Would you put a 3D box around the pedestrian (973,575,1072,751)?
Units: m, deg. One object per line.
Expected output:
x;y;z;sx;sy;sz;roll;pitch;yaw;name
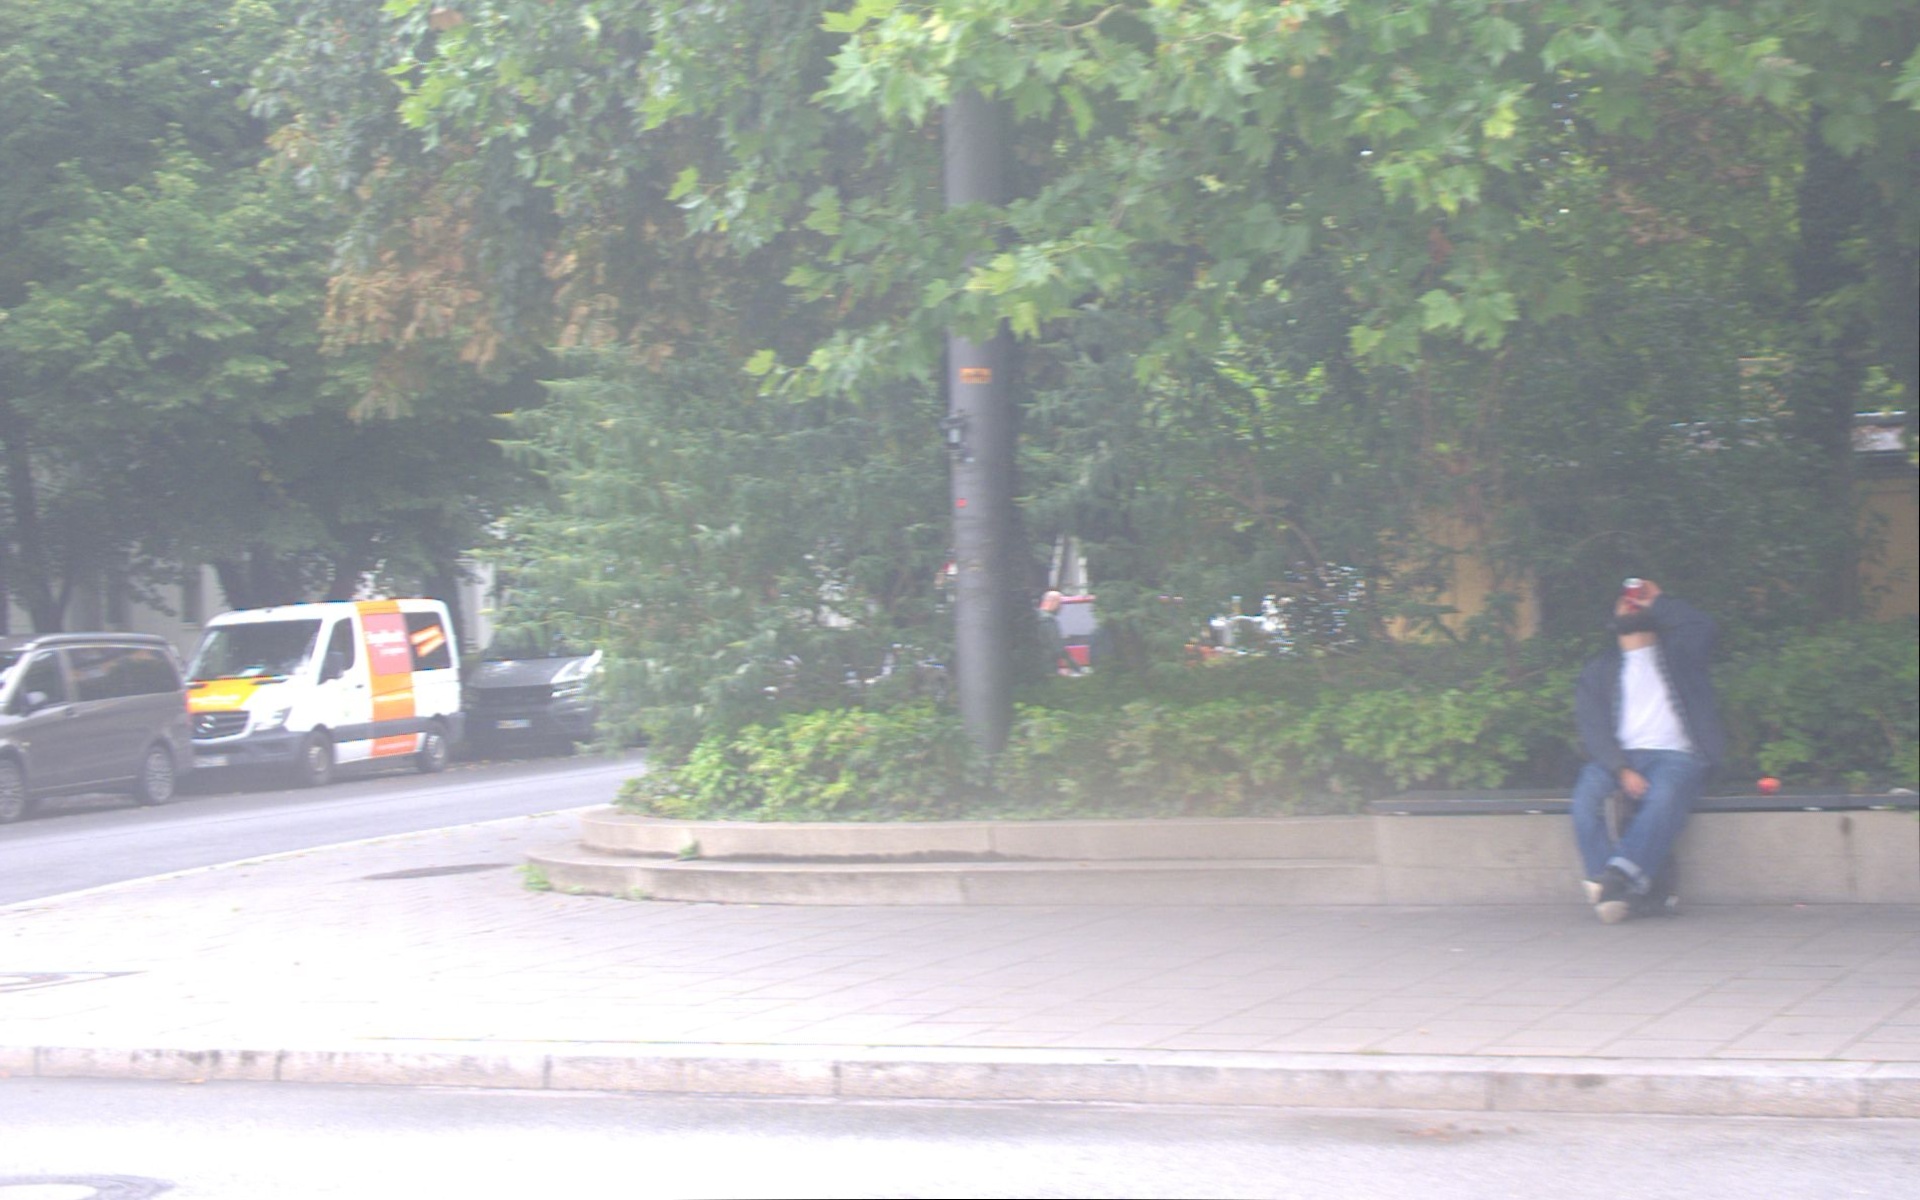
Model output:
0.667;0.673;36.892;0.819;1.830;0.952;-2;0;-10;pedestrian

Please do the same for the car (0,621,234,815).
-10.083;1.264;36.824;2.027;1.901;5.663;-4;-1;16;car

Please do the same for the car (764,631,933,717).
-1.993;1.331;62.791;1.995;1.415;4.126;-2;0;14;car

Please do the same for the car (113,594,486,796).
-8.225;1.133;43.472;2.085;2.257;5.598;-4;-1;18;car

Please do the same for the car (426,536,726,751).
-5.707;0.610;52.073;2.174;2.992;6.228;-2;0;16;car

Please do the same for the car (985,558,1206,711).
1.921;0.442;46.931;1.912;1.930;4.965;-2;0;15;car

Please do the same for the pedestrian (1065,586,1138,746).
1.506;0.703;36.675;0.633;1.661;0.697;-2;-1;-5;pedestrian

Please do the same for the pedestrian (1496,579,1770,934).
2.729;0.612;13.877;0.770;1.352;1.130;-2;0;26;pedestrian
